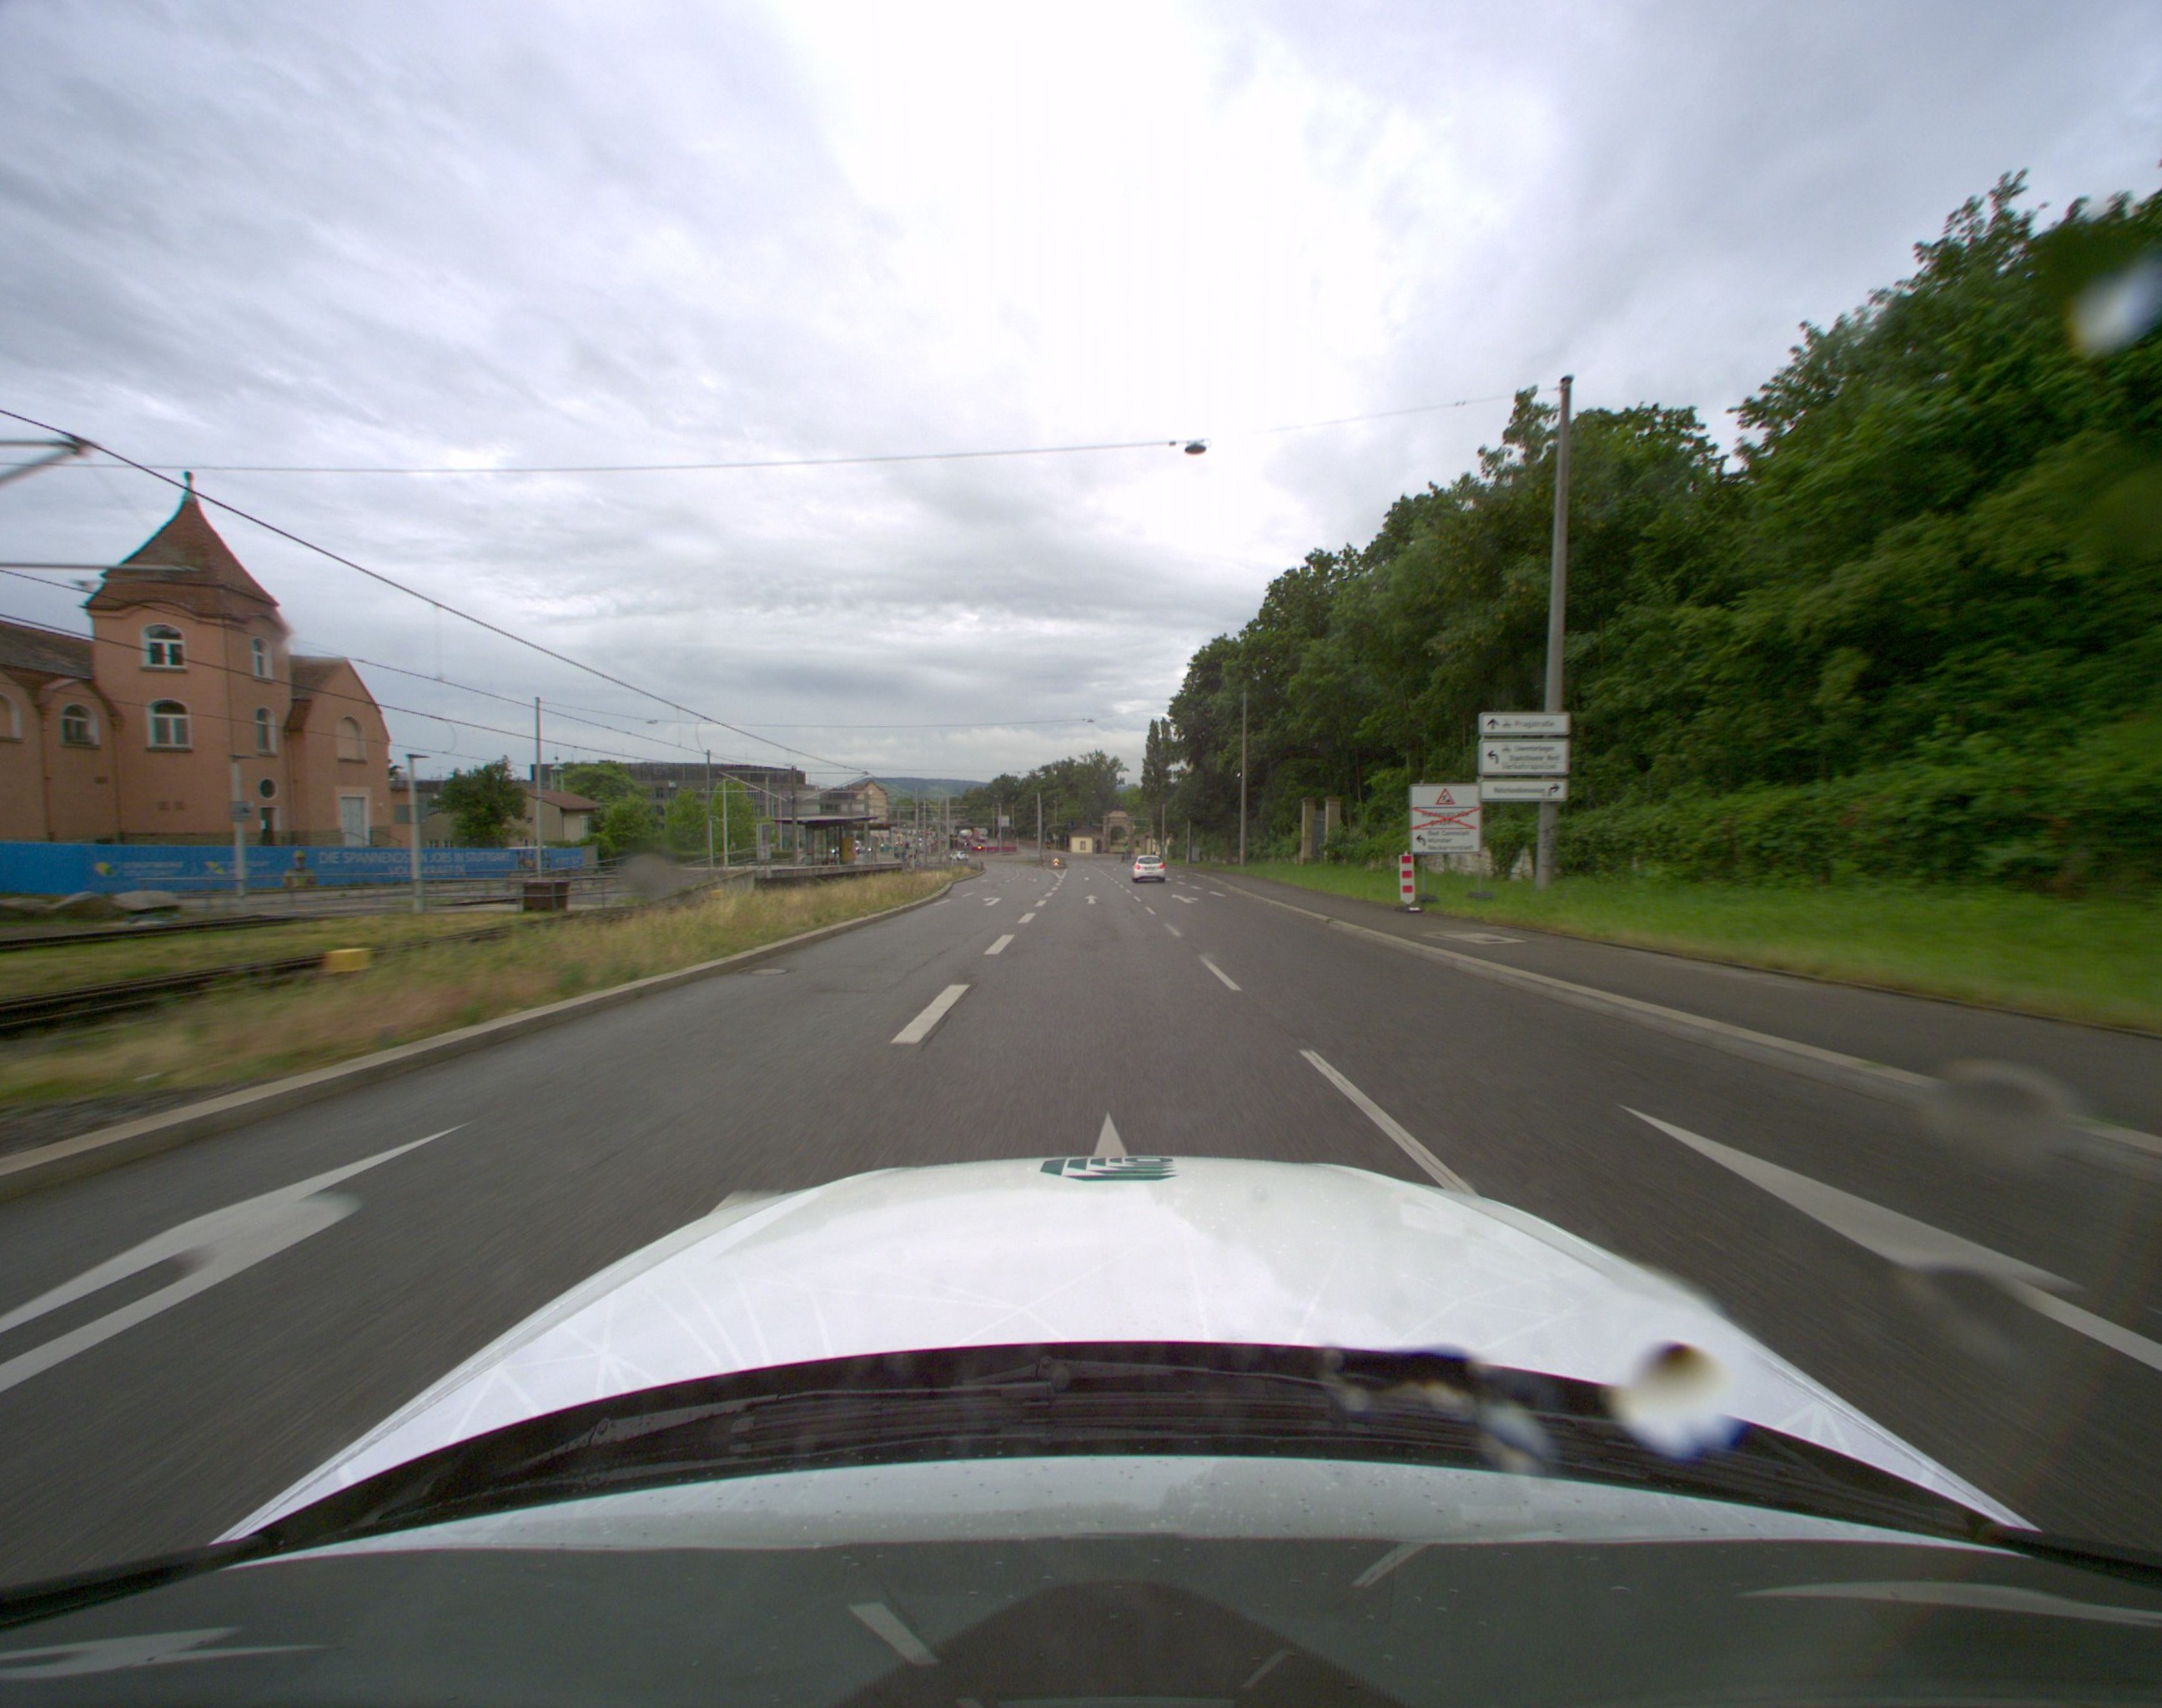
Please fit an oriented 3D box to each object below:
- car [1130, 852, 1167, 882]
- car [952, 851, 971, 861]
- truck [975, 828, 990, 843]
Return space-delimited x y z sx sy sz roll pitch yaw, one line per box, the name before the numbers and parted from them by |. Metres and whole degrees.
car | 3.711 0.715 45.272 1.861 1.511 3.902 -2 0 3
car | -19.159 0.329 130.064 1.832 1.606 3.965 0 1 -27
truck | -31.272 -5.723 257.031 3.417 4.570 11.238 2 0 -13
